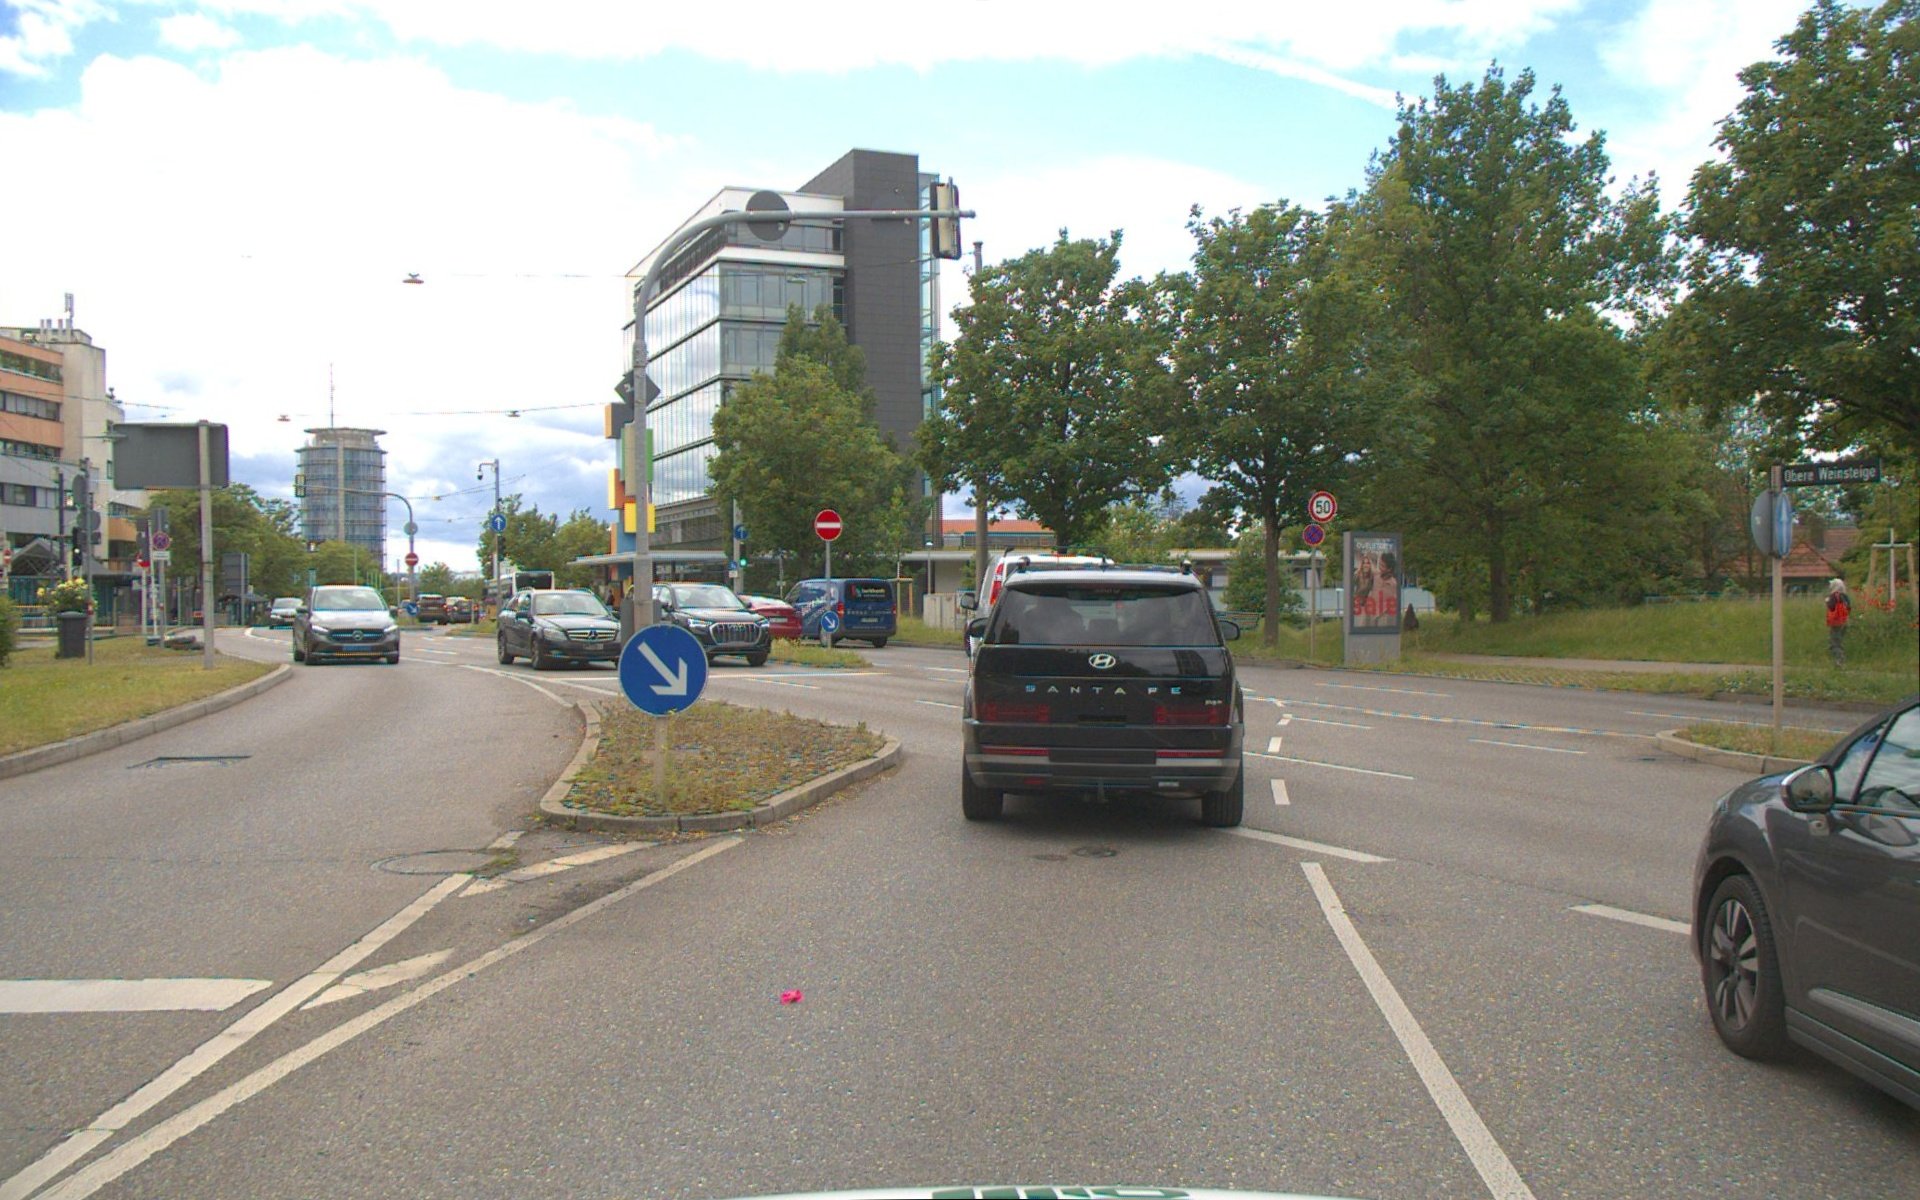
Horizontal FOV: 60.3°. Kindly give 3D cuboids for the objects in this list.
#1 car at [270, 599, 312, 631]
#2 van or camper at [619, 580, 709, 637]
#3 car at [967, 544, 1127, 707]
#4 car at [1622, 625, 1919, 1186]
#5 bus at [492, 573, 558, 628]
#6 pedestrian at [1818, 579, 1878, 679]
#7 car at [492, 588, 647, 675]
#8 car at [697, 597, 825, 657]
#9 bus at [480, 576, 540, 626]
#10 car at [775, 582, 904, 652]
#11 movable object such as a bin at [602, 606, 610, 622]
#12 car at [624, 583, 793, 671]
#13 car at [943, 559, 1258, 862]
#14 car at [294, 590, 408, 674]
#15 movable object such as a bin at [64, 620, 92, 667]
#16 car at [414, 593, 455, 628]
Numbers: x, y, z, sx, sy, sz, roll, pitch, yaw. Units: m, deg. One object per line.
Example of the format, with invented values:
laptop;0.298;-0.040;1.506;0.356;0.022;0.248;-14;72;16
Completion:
car;-32.127;0.713;79.378;1.774;1.480;4.579;-1;0;-23
van or camper;-10.782;0.262;60.085;1.971;1.951;4.367;0;1;-29
car;1.099;0.320;22.932;1.863;2.003;4.635;1;0;-1
car;3.445;0.859;4.570;1.666;1.486;4.063;1;0;1
bus;-27.033;0.039;102.502;2.924;3.171;9.186;-2;0;-21
pedestrian;15.195;0.482;28.301;0.535;1.631;0.695;-5;3;-30
car;-7.377;0.544;30.973;1.763;1.450;4.355;1;1;-28
car;-5.252;0.674;43.247;1.852;1.443;4.401;1;0;-28
bus;-30.365;0.103;111.349;2.910;3.166;9.914;-2;0;-21
car;-3.480;0.446;46.822;1.881;1.891;4.664;1;0;-29
movable object such as a bin;-20.741;0.800;96.914;0.351;0.913;0.459;-1;-1;-22
car;-5.085;0.484;33.004;1.868;1.592;4.351;1;1;-30
car;1.220;0.650;12.089;1.861;1.762;4.450;1;0;10
car;-12.583;0.612;34.021;1.761;1.564;4.359;1;1;-26
movable object such as a bin;-19.886;0.970;37.295;0.557;1.030;0.831;0;0;-28
car;-29.791;0.552;93.697;1.875;1.891;4.678;1;0;-22
